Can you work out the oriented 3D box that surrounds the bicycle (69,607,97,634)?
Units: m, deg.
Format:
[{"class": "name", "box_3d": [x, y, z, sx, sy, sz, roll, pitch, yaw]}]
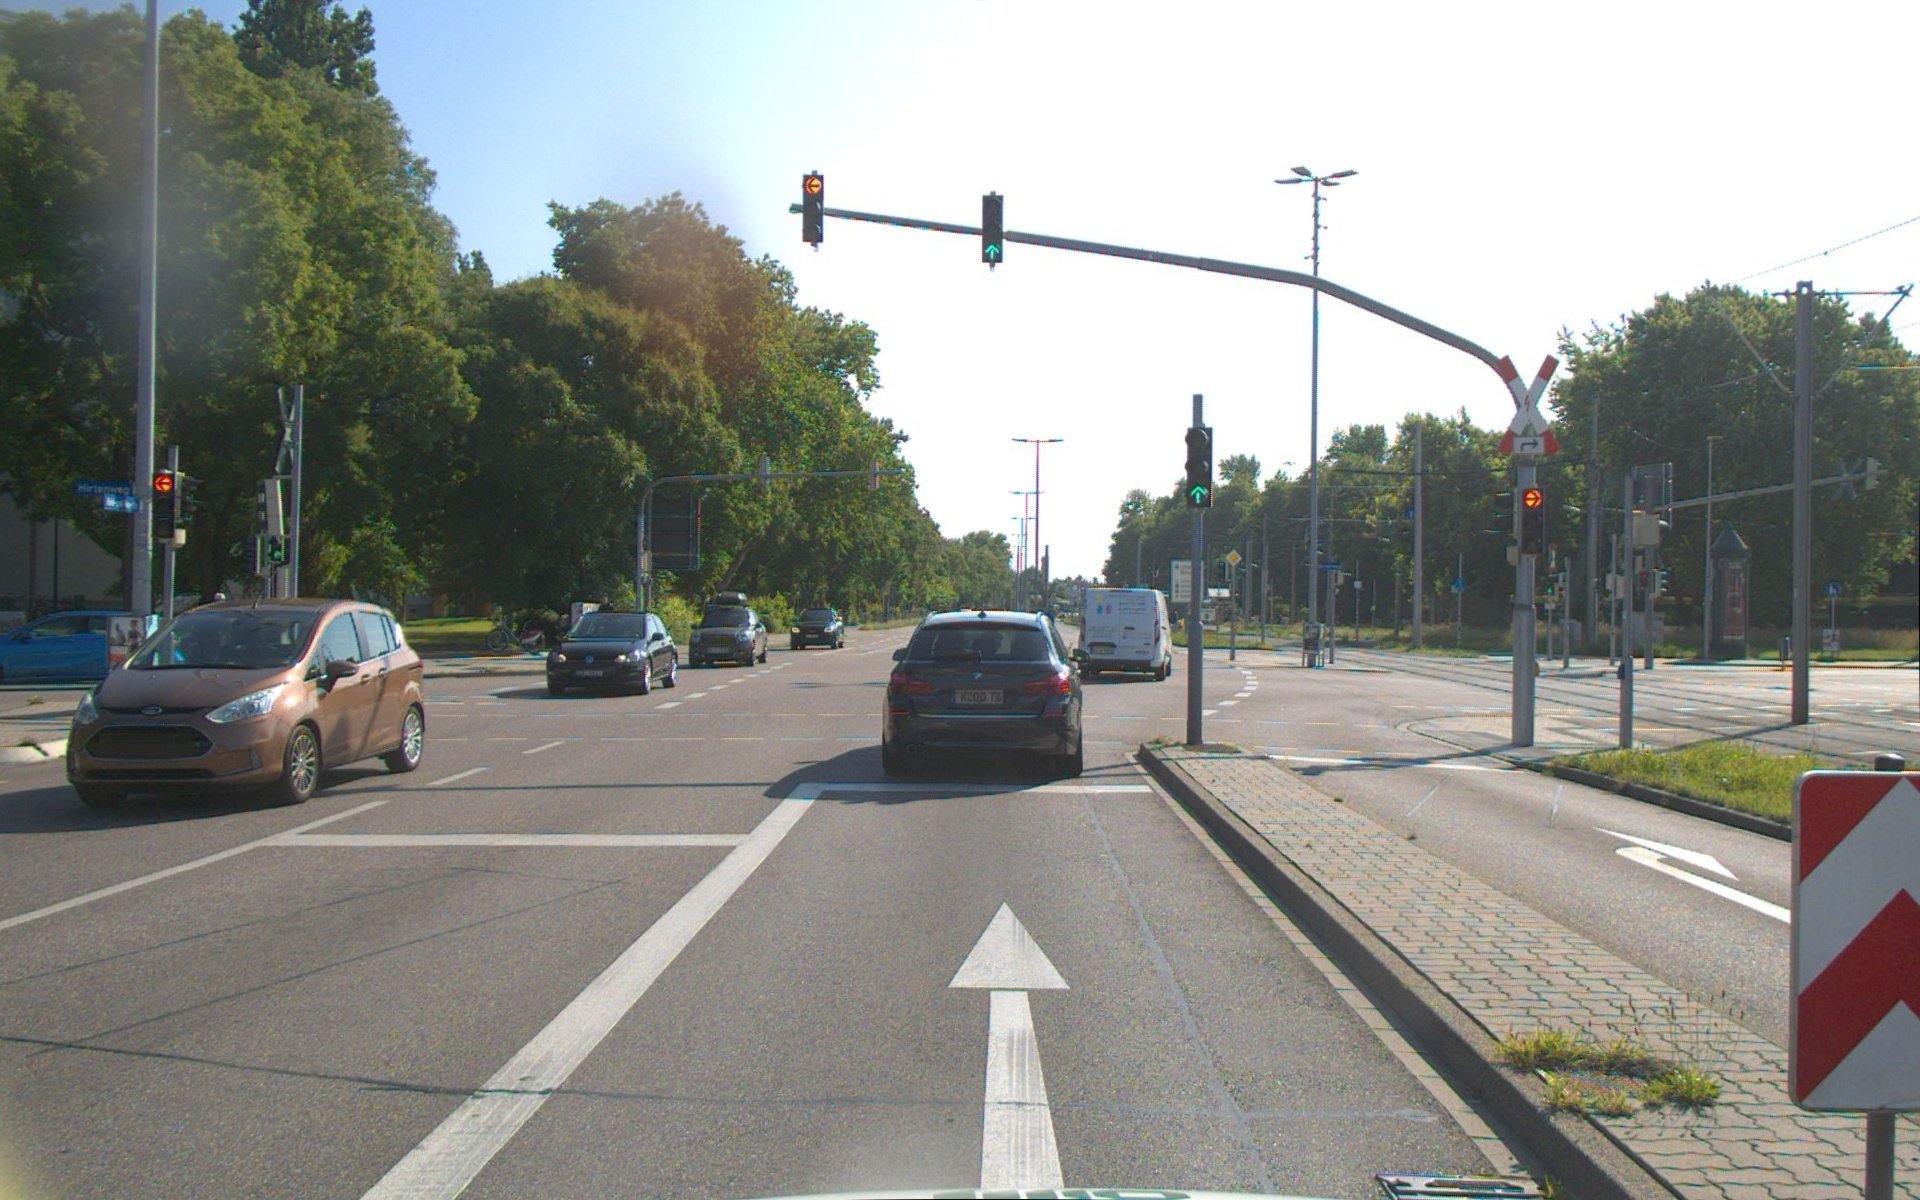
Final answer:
[{"class": "bicycle", "box_3d": [-32.441, 0.757, 61.172, 0.662, 0.936, 2.378, 1, 0, -34]}]

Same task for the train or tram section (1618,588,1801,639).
[{"class": "train or tram section", "box_3d": [55.172, 0.935, 122.057, 11.988, 3.642, 3.042, 0, -1, 37]}]

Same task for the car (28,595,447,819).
[{"class": "car", "box_3d": [-5.847, 0.785, 13.959, 1.709, 1.589, 4.000, -1, 0, 1]}]

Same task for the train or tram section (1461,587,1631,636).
[{"class": "train or tram section", "box_3d": [45.505, 0.834, 128.713, 12.173, 3.642, 3.047, 0, -1, 32]}]

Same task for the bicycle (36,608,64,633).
[{"class": "bicycle", "box_3d": [-33.318, 0.743, 60.562, 0.668, 0.891, 2.456, 1, 0, -34]}]

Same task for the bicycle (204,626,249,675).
[{"class": "bicycle", "box_3d": [-16.538, 1.128, 37.319, 0.609, 1.058, 2.063, 1, 0, -16]}]

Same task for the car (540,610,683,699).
[{"class": "car", "box_3d": [-6.249, 0.928, 30.083, 1.850, 1.500, 4.098, 0, 0, -2]}]

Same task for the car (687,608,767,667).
[{"class": "car", "box_3d": [-6.377, 1.006, 45.700, 1.752, 1.547, 3.998, 0, 0, -2]}]

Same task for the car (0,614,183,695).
[{"class": "car", "box_3d": [-16.838, 0.990, 30.822, 4.183, 1.439, 1.768, 1, 0, -29]}]

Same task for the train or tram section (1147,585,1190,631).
[{"class": "train or tram section", "box_3d": [17.488, 0.764, 139.459, 2.737, 3.682, 12.961, 1, -1, 4]}]

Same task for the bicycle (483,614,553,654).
[{"class": "bicycle", "box_3d": [-12.958, 1.001, 48.504, 1.870, 1.138, 0.632, 1, -1, 0]}]

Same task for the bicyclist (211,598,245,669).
[{"class": "bicyclist", "box_3d": [-16.556, 0.753, 37.410, 0.597, 1.588, 0.600, 1, -1, -16]}]

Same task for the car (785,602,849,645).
[{"class": "car", "box_3d": [-5.830, 0.952, 67.897, 1.947, 1.688, 4.387, 0, 0, 4]}]

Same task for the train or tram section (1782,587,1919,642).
[{"class": "train or tram section", "box_3d": [62.685, 0.980, 112.854, 3.016, 3.642, 12.091, 1, -1, -33]}]

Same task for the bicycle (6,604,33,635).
[{"class": "bicycle", "box_3d": [-34.023, 0.702, 59.830, 0.606, 1.085, 1.892, 2, -3, -36]}]

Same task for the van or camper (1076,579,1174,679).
[{"class": "van or camper", "box_3d": [3.846, 0.640, 37.920, 1.951, 2.133, 4.602, 1, 0, 9]}]

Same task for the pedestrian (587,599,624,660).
[{"class": "pedestrian", "box_3d": [-10.450, 0.861, 48.741, 0.798, 1.782, 0.932, 1, 0, 5]}]

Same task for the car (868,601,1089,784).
[{"class": "car", "box_3d": [0.270, 0.798, 16.099, 1.863, 1.532, 4.066, 1, 0, 3]}]
